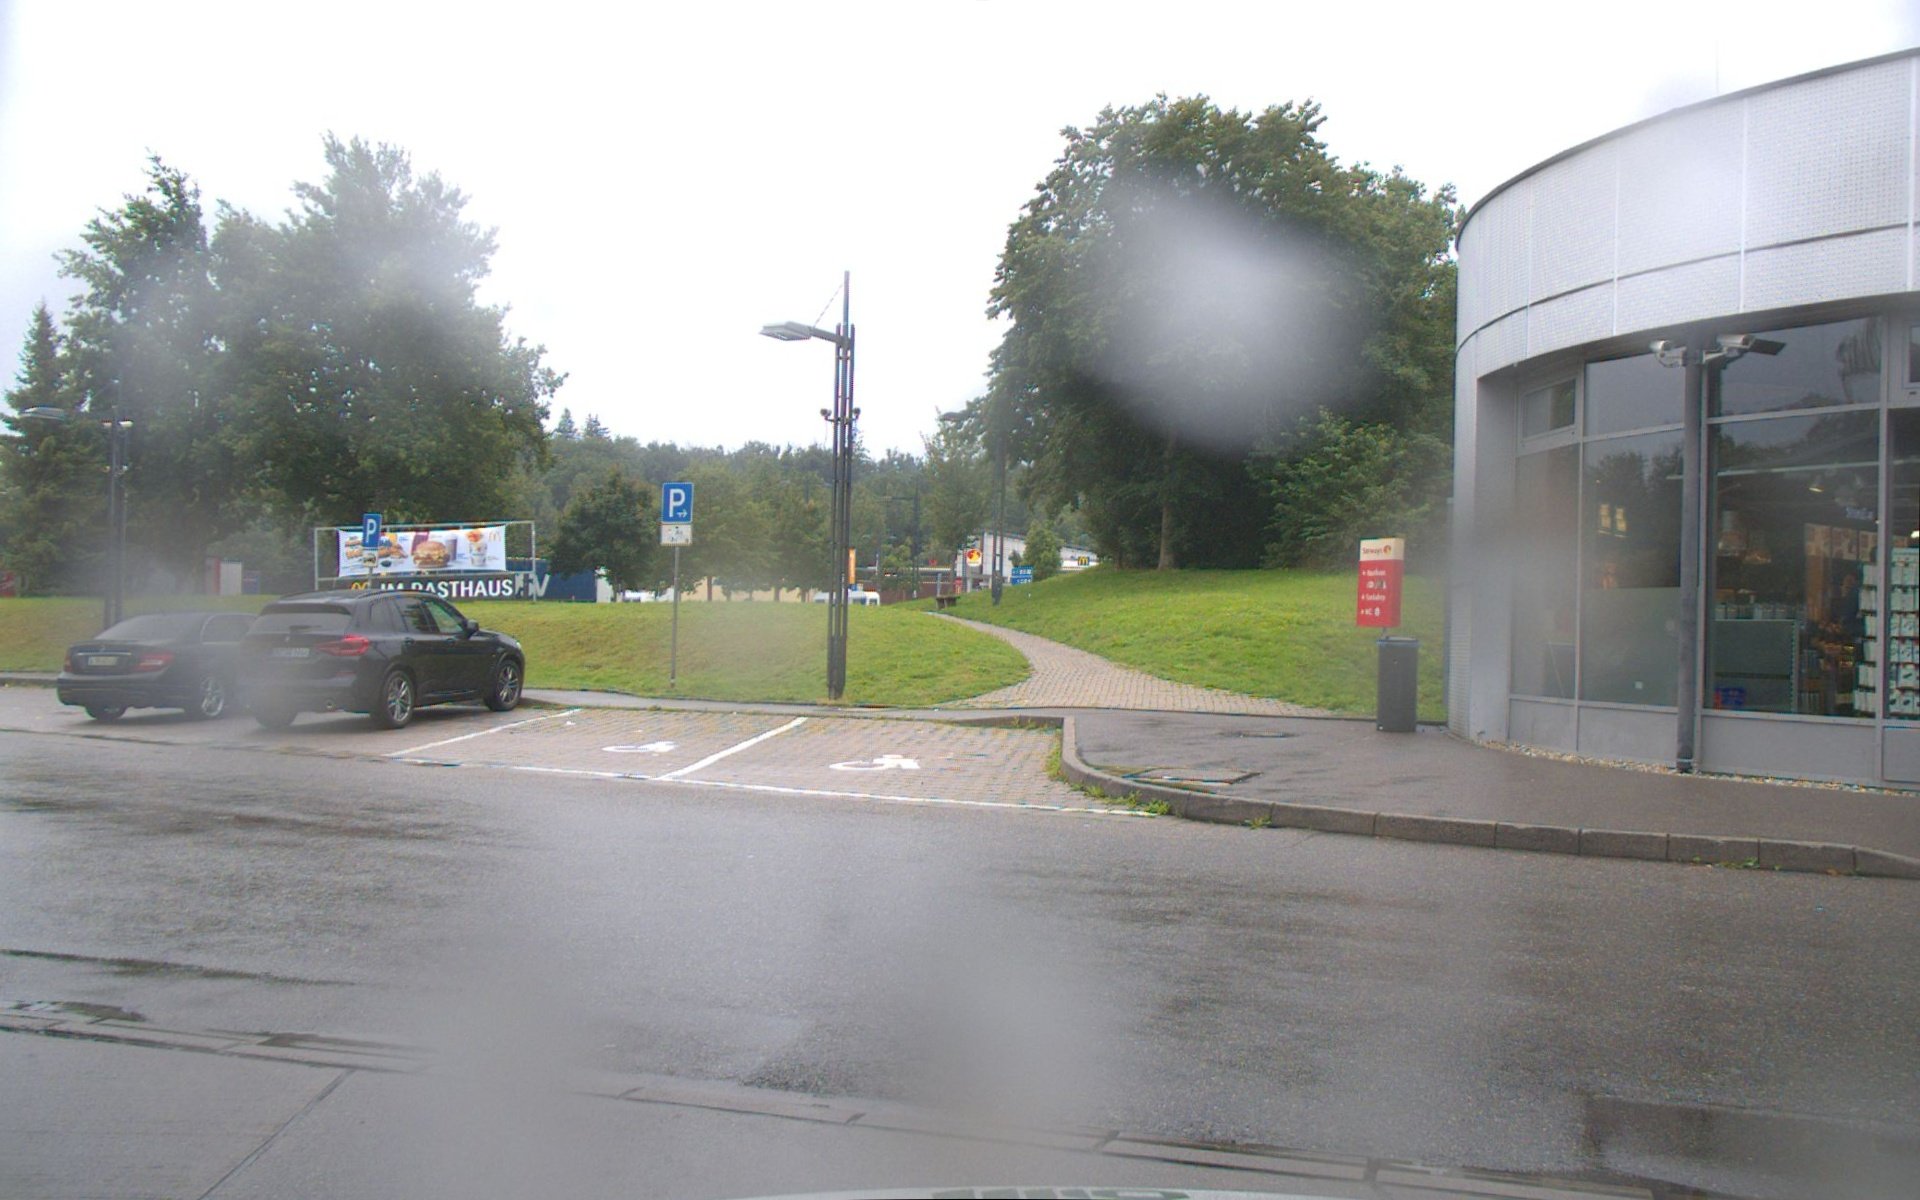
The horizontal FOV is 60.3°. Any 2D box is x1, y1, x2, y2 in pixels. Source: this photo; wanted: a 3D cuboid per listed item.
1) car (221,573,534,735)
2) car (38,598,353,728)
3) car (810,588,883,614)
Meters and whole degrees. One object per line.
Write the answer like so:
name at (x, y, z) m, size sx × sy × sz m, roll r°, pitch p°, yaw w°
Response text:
car at (-7.327, 0.611, 21.334) m, size 1.844 × 1.860 × 4.417 m, roll 0°, pitch 0°, yaw 11°
car at (-10.352, 0.784, 22.773) m, size 1.844 × 1.592 × 4.189 m, roll 0°, pitch 0°, yaw 11°
car at (-9.153, 0.067, 133.643) m, size 5.310 × 2.049 × 2.456 m, roll 1°, pitch 0°, yaw 19°
